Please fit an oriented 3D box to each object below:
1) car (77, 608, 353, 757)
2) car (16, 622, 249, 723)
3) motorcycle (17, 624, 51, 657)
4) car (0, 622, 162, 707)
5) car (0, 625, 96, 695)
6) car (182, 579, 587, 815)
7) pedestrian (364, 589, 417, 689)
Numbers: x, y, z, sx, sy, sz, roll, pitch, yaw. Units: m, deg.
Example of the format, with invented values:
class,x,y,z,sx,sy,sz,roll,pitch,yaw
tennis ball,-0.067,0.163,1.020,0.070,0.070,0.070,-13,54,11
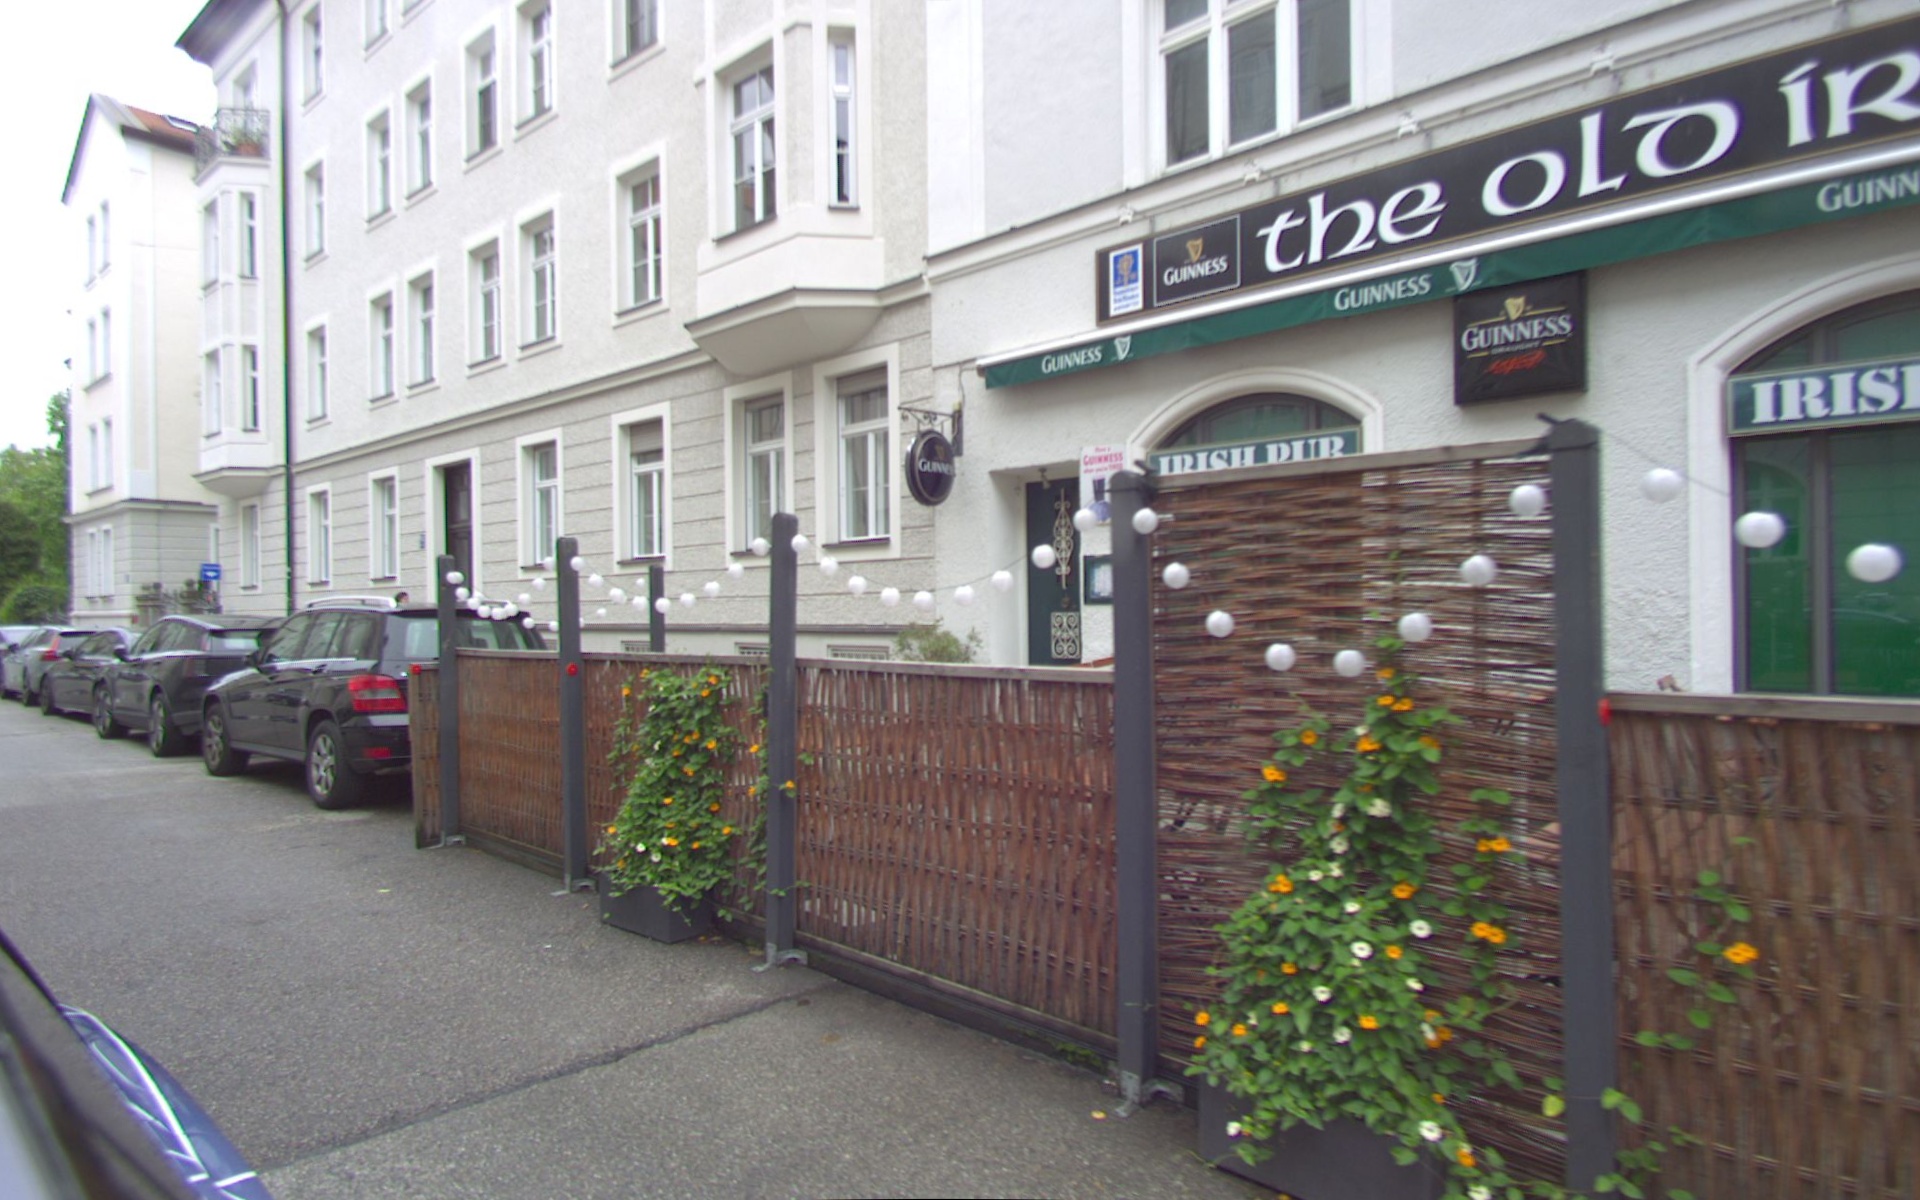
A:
class,x,y,z,sx,sy,sz,roll,pitch,yaw
car,-9.178,0.884,12.352,4.176,1.498,1.725,-1,0,39
car,-13.192,1.066,16.062,4.434,1.396,1.794,-1,-2,36
motorcycle,-37.634,1.650,41.127,1.818,1.259,0.698,-1,2,38
car,-16.911,1.158,19.251,4.506,1.430,1.776,-1,-3,40
car,-21.159,1.293,22.652,4.694,1.377,1.832,-2,0,37
car,-5.394,0.780,9.269,4.270,1.686,1.729,-2,-4,39
pedestrian,-10.131,0.684,18.022,0.654,1.720,0.702,-1,0,-17
